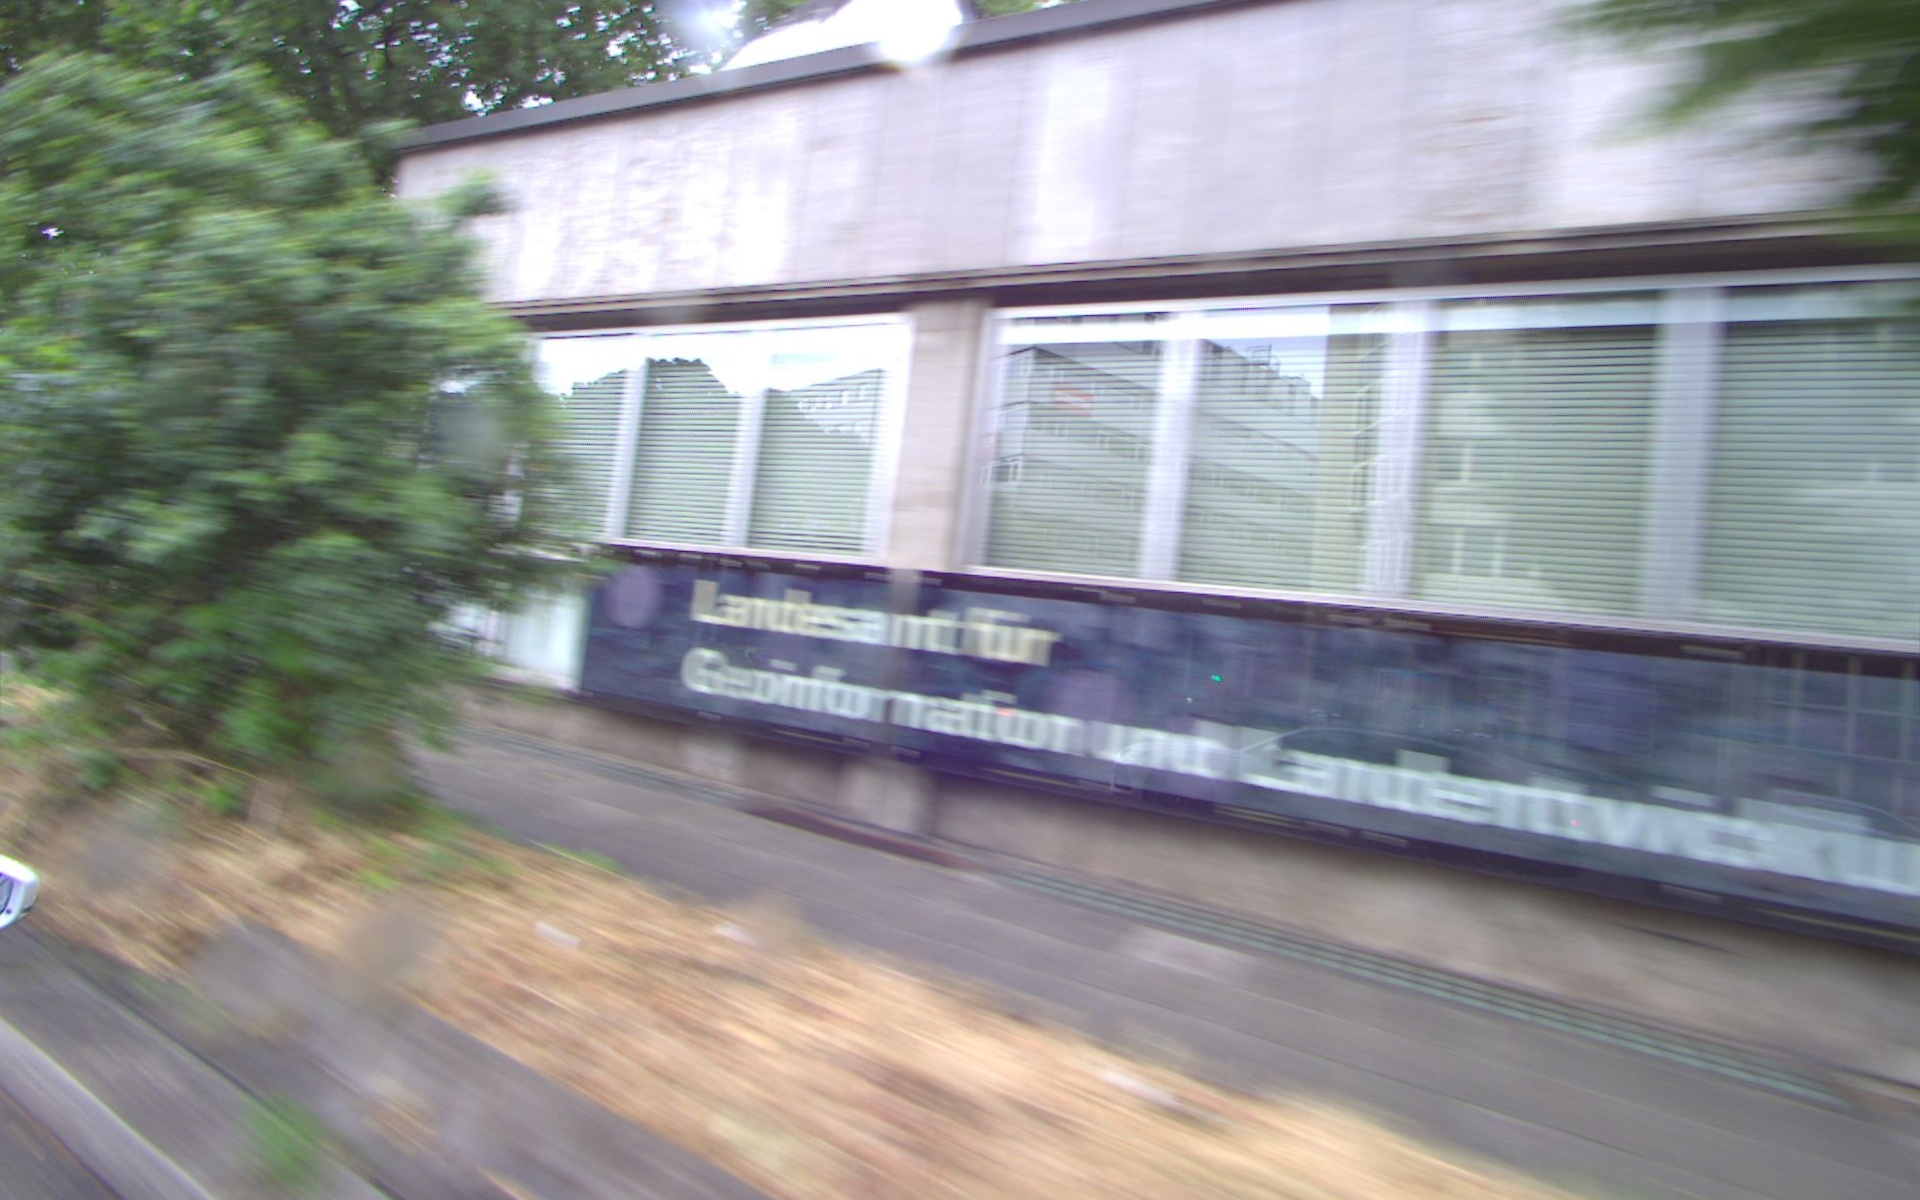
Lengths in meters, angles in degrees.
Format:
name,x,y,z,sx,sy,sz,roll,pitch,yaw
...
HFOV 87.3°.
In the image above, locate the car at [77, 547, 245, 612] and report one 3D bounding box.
name,x,y,z,sx,sy,sz,roll,pitch,yaw
car,-27.672,-0.659,34.985,1.964,1.456,4.007,6,-6,25
